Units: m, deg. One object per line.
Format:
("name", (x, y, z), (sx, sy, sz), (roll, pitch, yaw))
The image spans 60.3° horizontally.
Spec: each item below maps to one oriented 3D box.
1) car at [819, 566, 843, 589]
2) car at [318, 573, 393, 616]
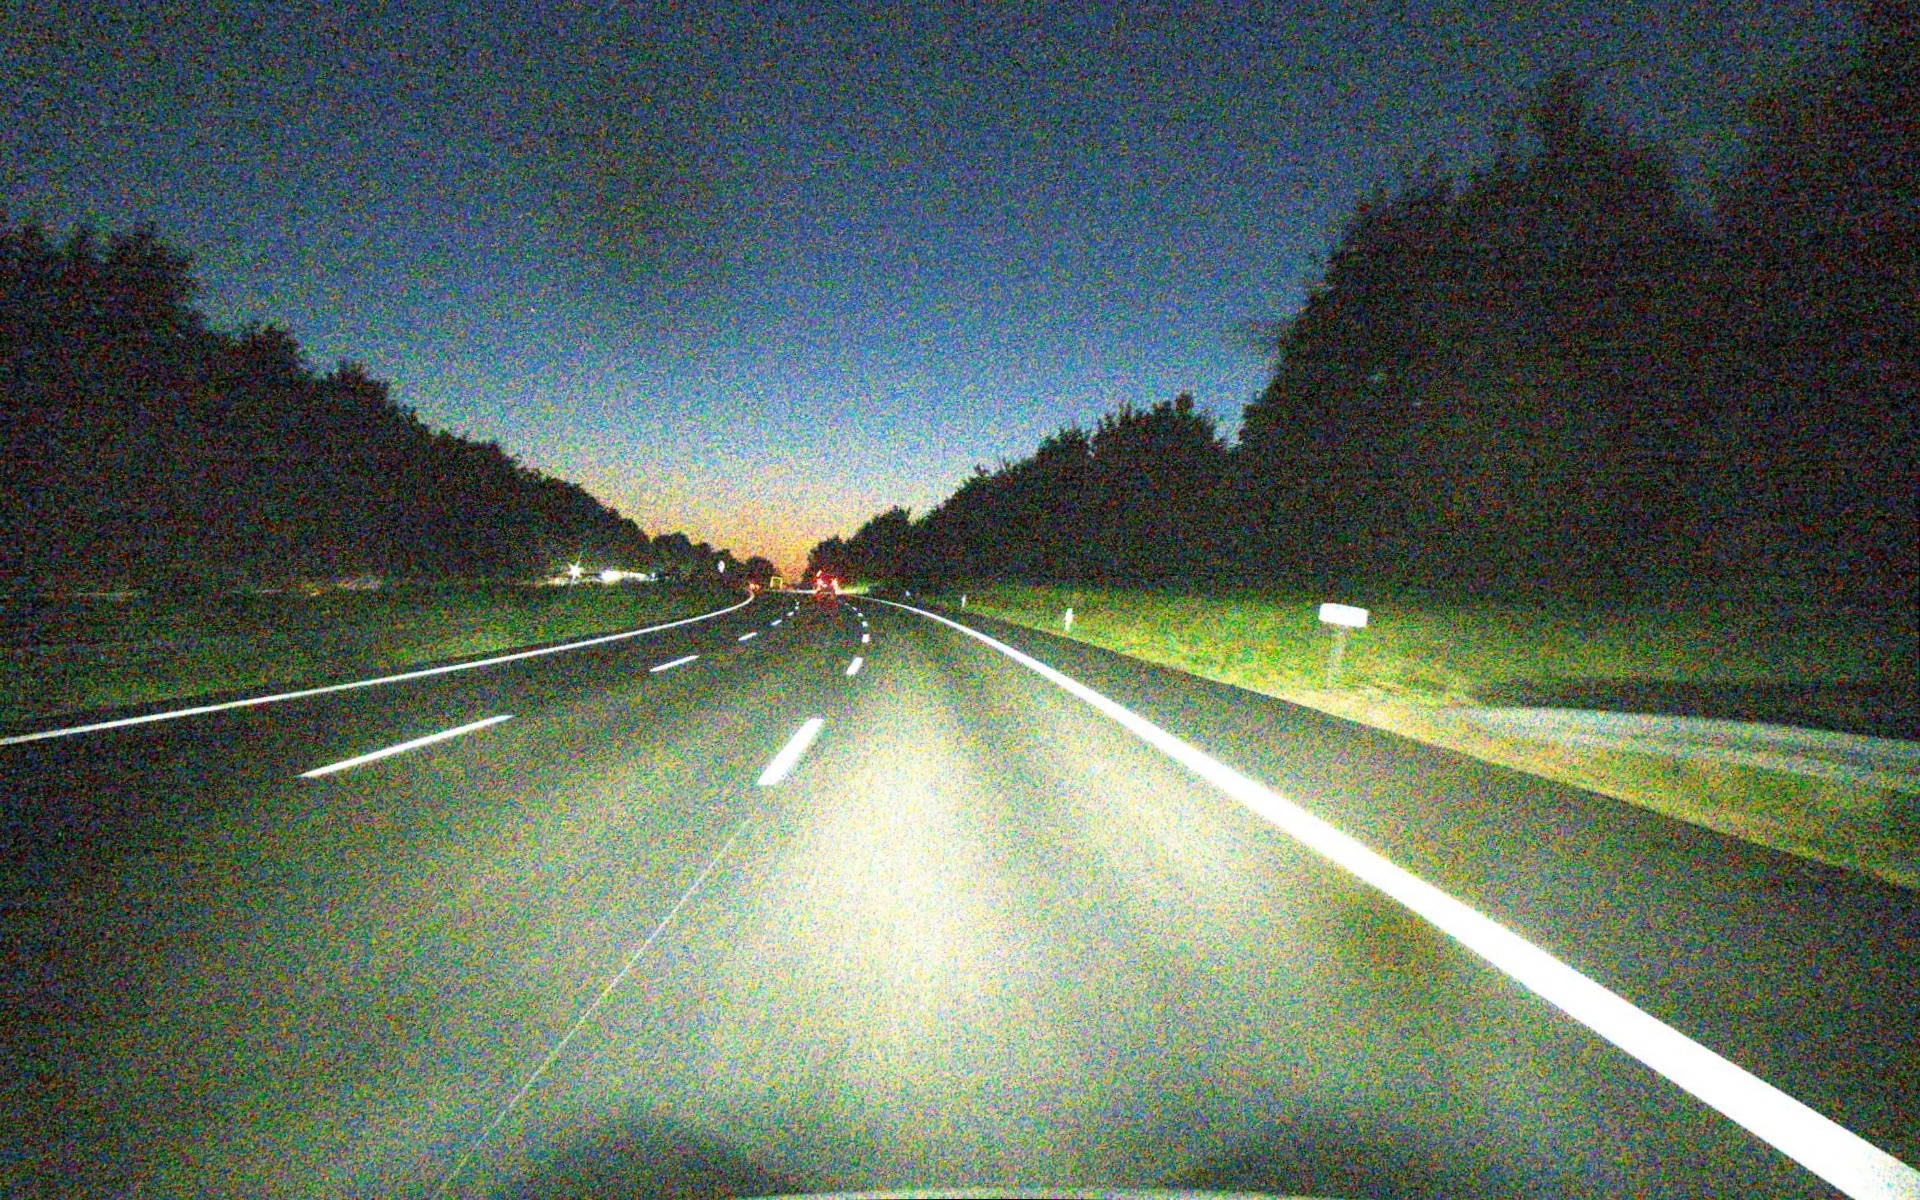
("car", (-15.668, -2.713, 200.555), (2.480, 2.597, 6.042), (3, 0, -7))
("car", (-25.786, -0.252, 70.696), (1.954, 1.756, 4.073), (0, 1, -5))
